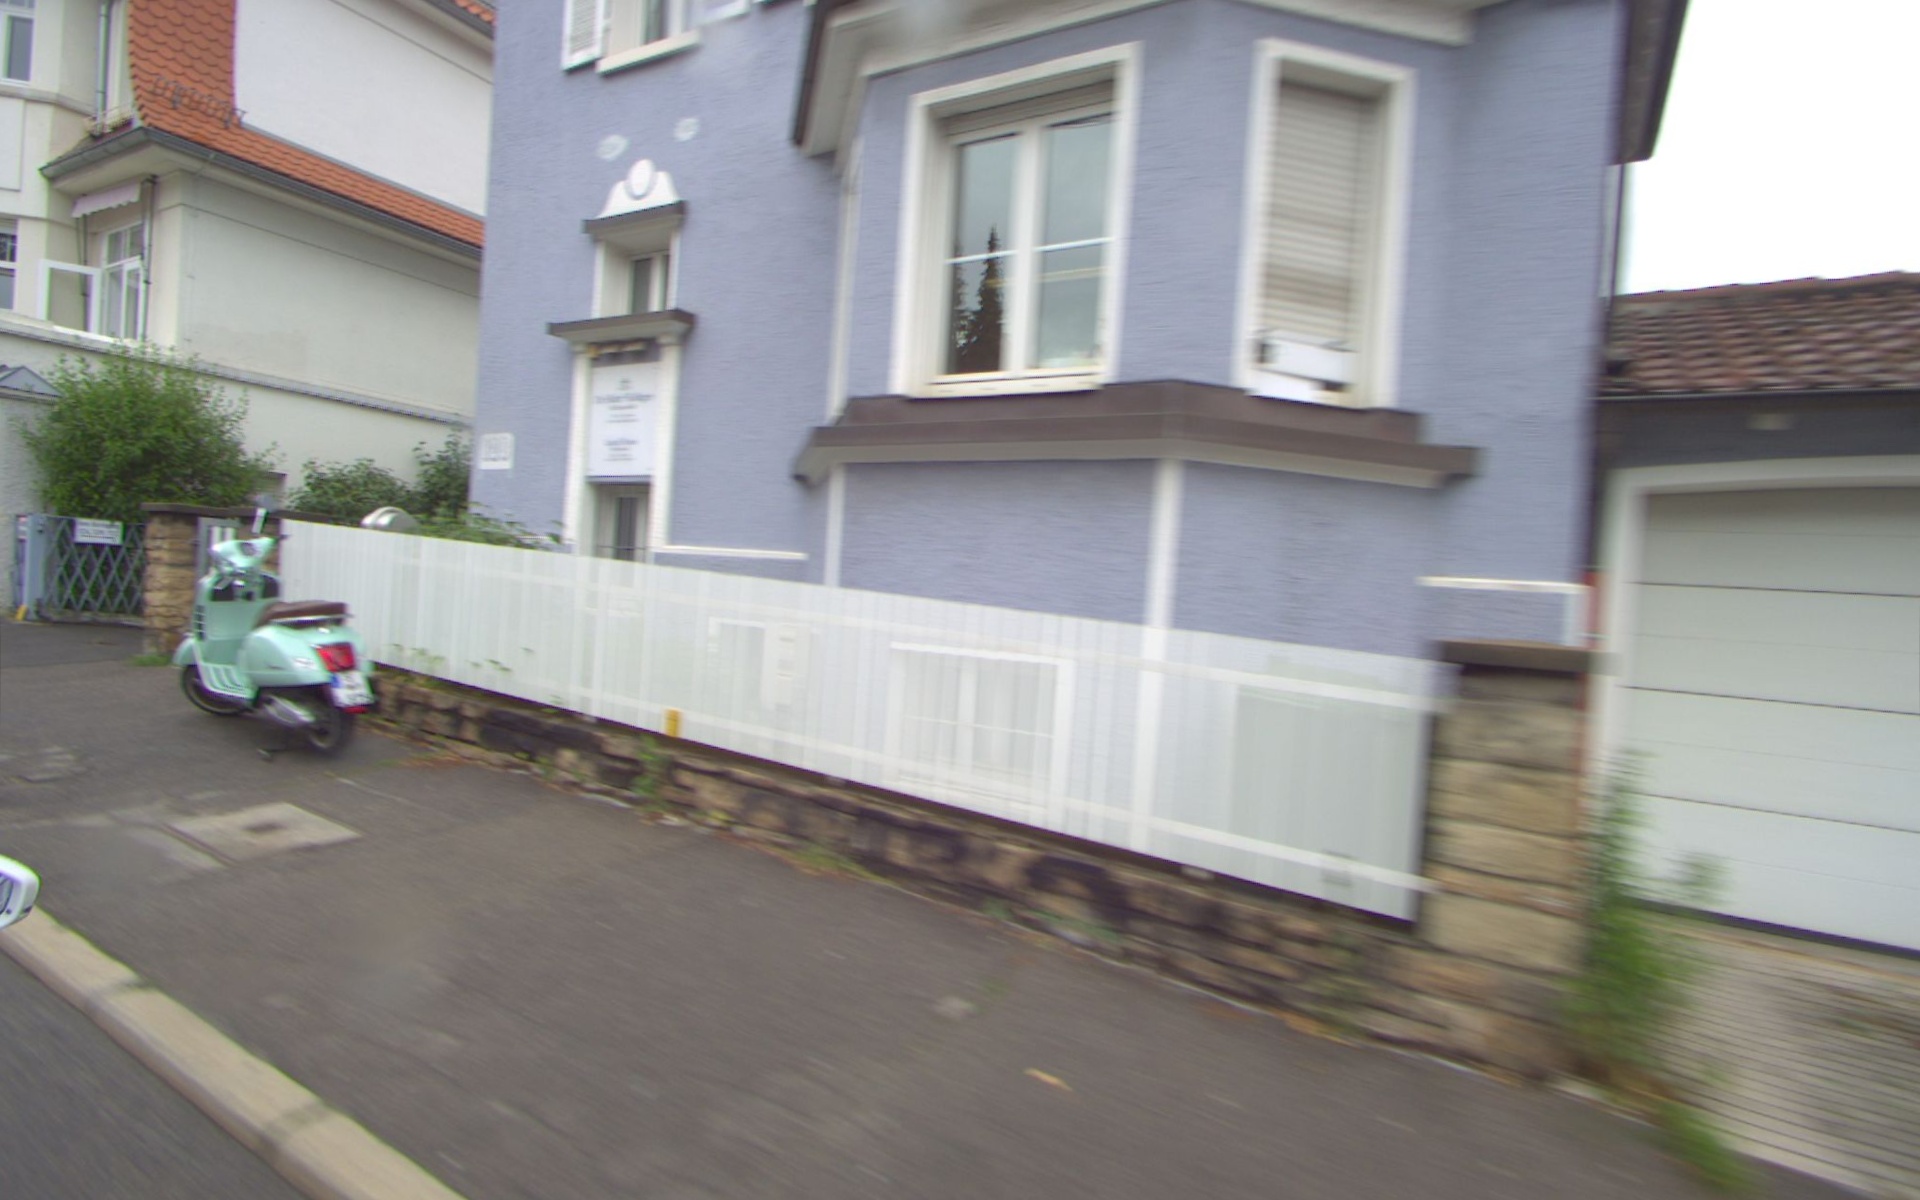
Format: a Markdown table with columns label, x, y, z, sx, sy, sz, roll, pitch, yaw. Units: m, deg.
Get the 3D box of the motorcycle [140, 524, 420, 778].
| label | x | y | z | sx | sy | sz | roll | pitch | yaw |
| --- | --- | --- | --- | --- | --- | --- | --- | --- | --- |
| motorcycle | -4.164 | 0.207 | 6.107 | 2.120 | 1.245 | 0.691 | 6 | 8 | 36 |
